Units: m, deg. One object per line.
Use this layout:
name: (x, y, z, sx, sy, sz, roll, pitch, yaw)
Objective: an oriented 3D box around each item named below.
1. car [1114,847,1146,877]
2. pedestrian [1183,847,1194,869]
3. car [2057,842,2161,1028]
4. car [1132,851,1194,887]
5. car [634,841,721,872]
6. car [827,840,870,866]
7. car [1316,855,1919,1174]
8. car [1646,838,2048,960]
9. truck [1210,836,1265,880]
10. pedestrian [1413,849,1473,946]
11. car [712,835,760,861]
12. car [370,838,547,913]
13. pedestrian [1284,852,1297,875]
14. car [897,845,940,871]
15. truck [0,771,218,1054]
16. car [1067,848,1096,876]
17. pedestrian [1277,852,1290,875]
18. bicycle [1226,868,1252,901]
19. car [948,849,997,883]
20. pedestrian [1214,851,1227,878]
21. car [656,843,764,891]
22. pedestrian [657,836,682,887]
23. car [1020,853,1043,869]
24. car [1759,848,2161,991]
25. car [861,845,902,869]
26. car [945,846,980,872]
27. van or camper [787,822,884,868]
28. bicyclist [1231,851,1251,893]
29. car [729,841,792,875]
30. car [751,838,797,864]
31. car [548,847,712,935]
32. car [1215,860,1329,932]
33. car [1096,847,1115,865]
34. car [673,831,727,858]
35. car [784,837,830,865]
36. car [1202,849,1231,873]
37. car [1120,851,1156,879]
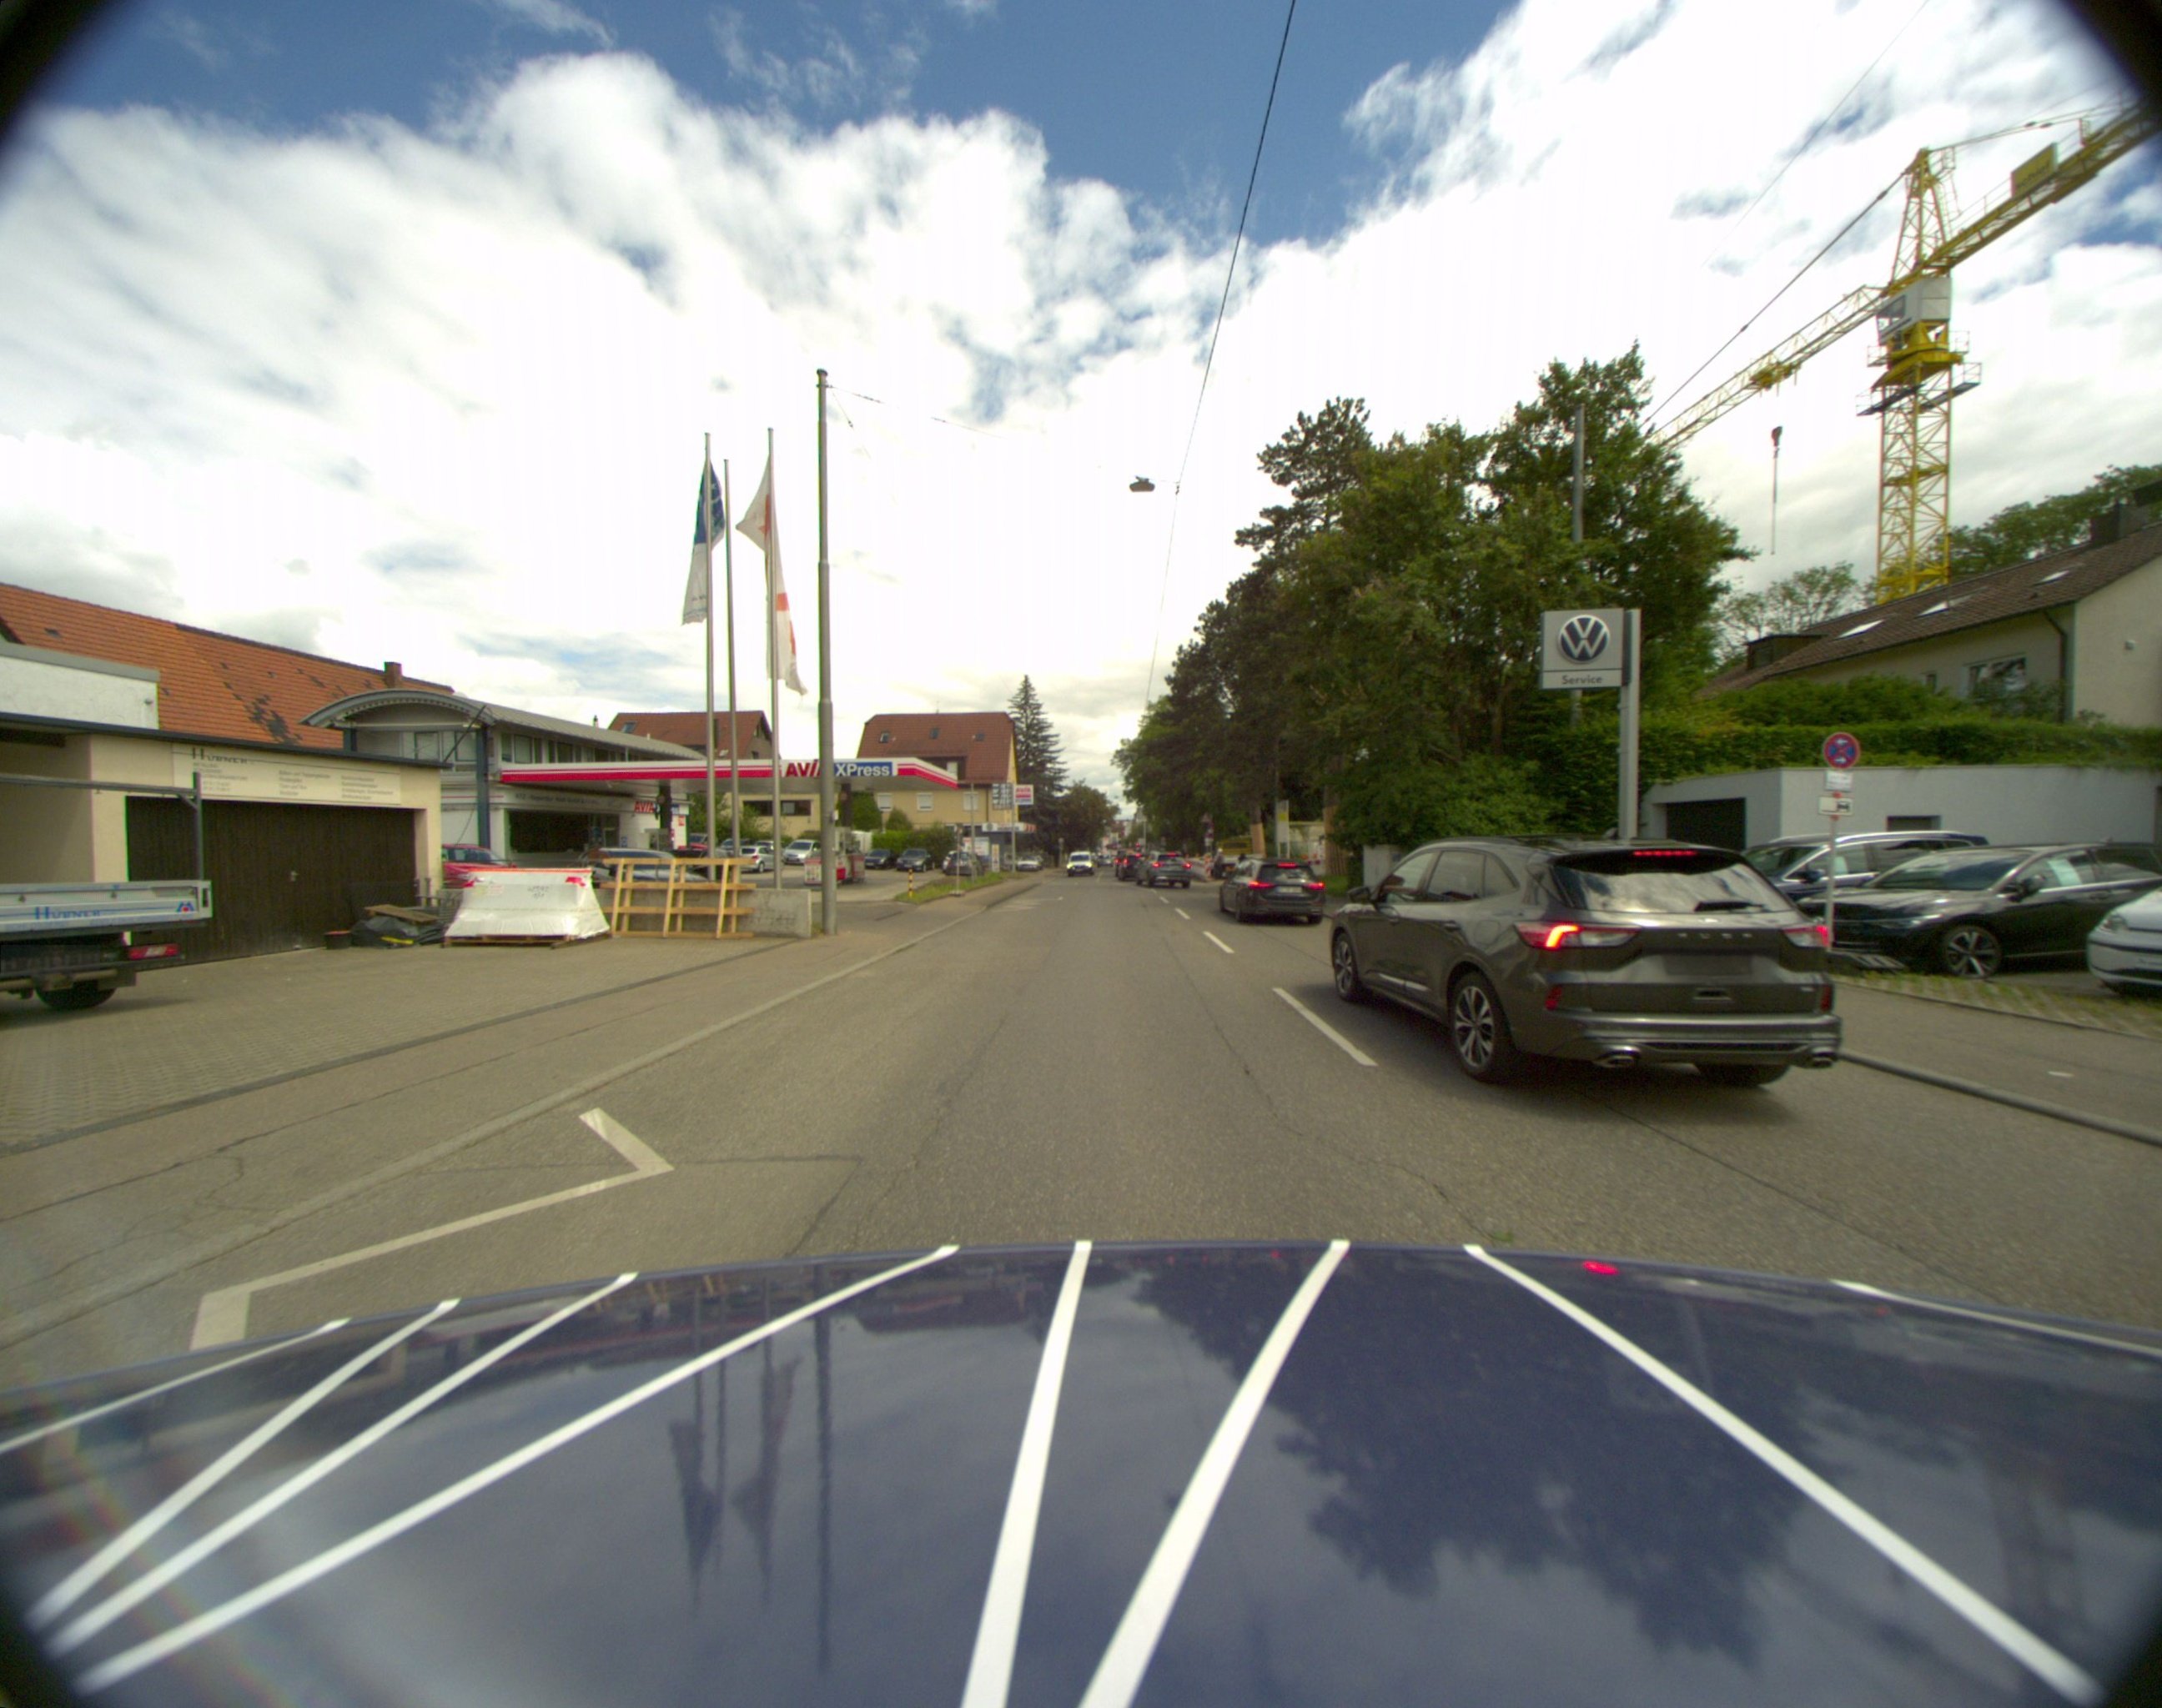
car: (3.322, 0.506, 52.190, 1.913, 1.940, 4.913, 0, 0, 1)
pedestrian: (9.218, 0.361, 65.252, 0.835, 1.837, 1.022, -2, 2, 5)
car: (11.065, 0.617, 6.364, 3.749, 1.551, 1.534, -3, 0, 0)
car: (3.752, 0.668, 35.600, 1.871, 1.608, 4.532, 0, 0, -8)
car: (-21.375, 0.117, 40.309, 3.750, 1.452, 1.620, 1, 4, 5)
car: (-15.388, -0.087, 50.493, 1.641, 1.576, 3.746, 3, 1, 0)
car: (3.412, 0.830, 6.055, 1.835, 1.620, 4.321, 0, 0, 2)
car: (11.804, 0.661, 11.978, 4.299, 1.631, 1.904, -2, 0, 3)
truck: (9.306, 0.178, 45.766, 2.311, 2.406, 6.093, -2, 1, 3)
pedestrian: (6.766, 0.795, 14.239, 0.684, 1.727, 0.868, -2, 2, 2)
car: (-22.735, -0.400, 50.170, 1.571, 1.560, 3.498, 3, 1, 0)
car: (-15.775, 0.537, 19.212, 4.595, 1.706, 1.830, 1, -3, 30)
pedestrian: (12.649, 0.557, 45.808, 0.574, 1.377, 0.539, -1, 2, 39)
car: (-10.609, 0.217, 49.926, 1.716, 1.533, 4.655, 3, 1, 0)
truck: (-11.862, 0.554, 7.060, 5.099, 2.442, 2.358, -1, -1, 2)
car: (0.075, 0.553, 56.382, 1.965, 1.796, 4.429, -2, 1, 2)
pedestrian: (12.491, 0.608, 46.768, 0.574, 1.377, 0.539, -1, 2, 39)
bicycle: (5.541, 1.060, 26.688, 0.455, 1.080, 1.869, 1, 1, -1)
car: (-5.827, 0.586, 41.274, 1.618, 1.587, 4.160, 5, 1, 5)
pedestrian: (8.178, 0.599, 44.426, 0.575, 1.538, 0.654, -2, 2, -3)
car: (-14.030, 0.419, 29.077, 1.634, 1.599, 4.571, -1, 2, 4)
pedestrian: (-15.631, 0.275, 28.862, 0.585, 1.924, 0.541, 0, 2, 39)
car: (-4.245, 0.592, 65.478, 1.789, 1.309, 4.480, 0, 1, -1)
car: (10.713, 0.706, 9.036, 3.749, 1.509, 1.729, -1, 0, 0)
car: (-13.062, 0.163, 49.979, 1.640, 1.364, 3.746, 3, 1, 0)
car: (-7.894, 0.326, 50.911, 1.638, 1.520, 4.202, 3, 1, -1)
van or camper: (-17.403, -0.630, 54.063, 5.974, 2.834, 2.531, 3, 1, -1)
bicyclist: (5.561, 0.608, 26.379, 0.470, 1.440, 0.864, 1, 1, -1)
car: (-17.466, 0.185, 41.543, 1.634, 1.493, 3.746, 3, 4, 3)
car: (-20.233, -0.258, 50.190, 1.571, 1.560, 3.498, 3, 1, 0)
car: (-10.178, 0.748, 17.038, 4.306, 1.621, 1.639, 3, 0, 38)
car: (4.358, 0.881, 18.019, 1.744, 1.421, 4.524, 0, 0, 3)
car: (2.675, 0.182, 83.343, 1.965, 1.796, 4.223, -2, 1, 2)
car: (-25.228, -0.628, 50.410, 1.571, 1.622, 3.951, 3, 1, 0)
car: (-18.037, -0.208, 50.204, 1.571, 1.673, 4.047, 3, 1, 0)
car: (9.095, 0.463, 51.170, 1.627, 1.499, 3.584, -2, 1, 6)
car: (3.236, 0.595, 43.548, 1.870, 1.518, 4.528, 0, 0, 2)
